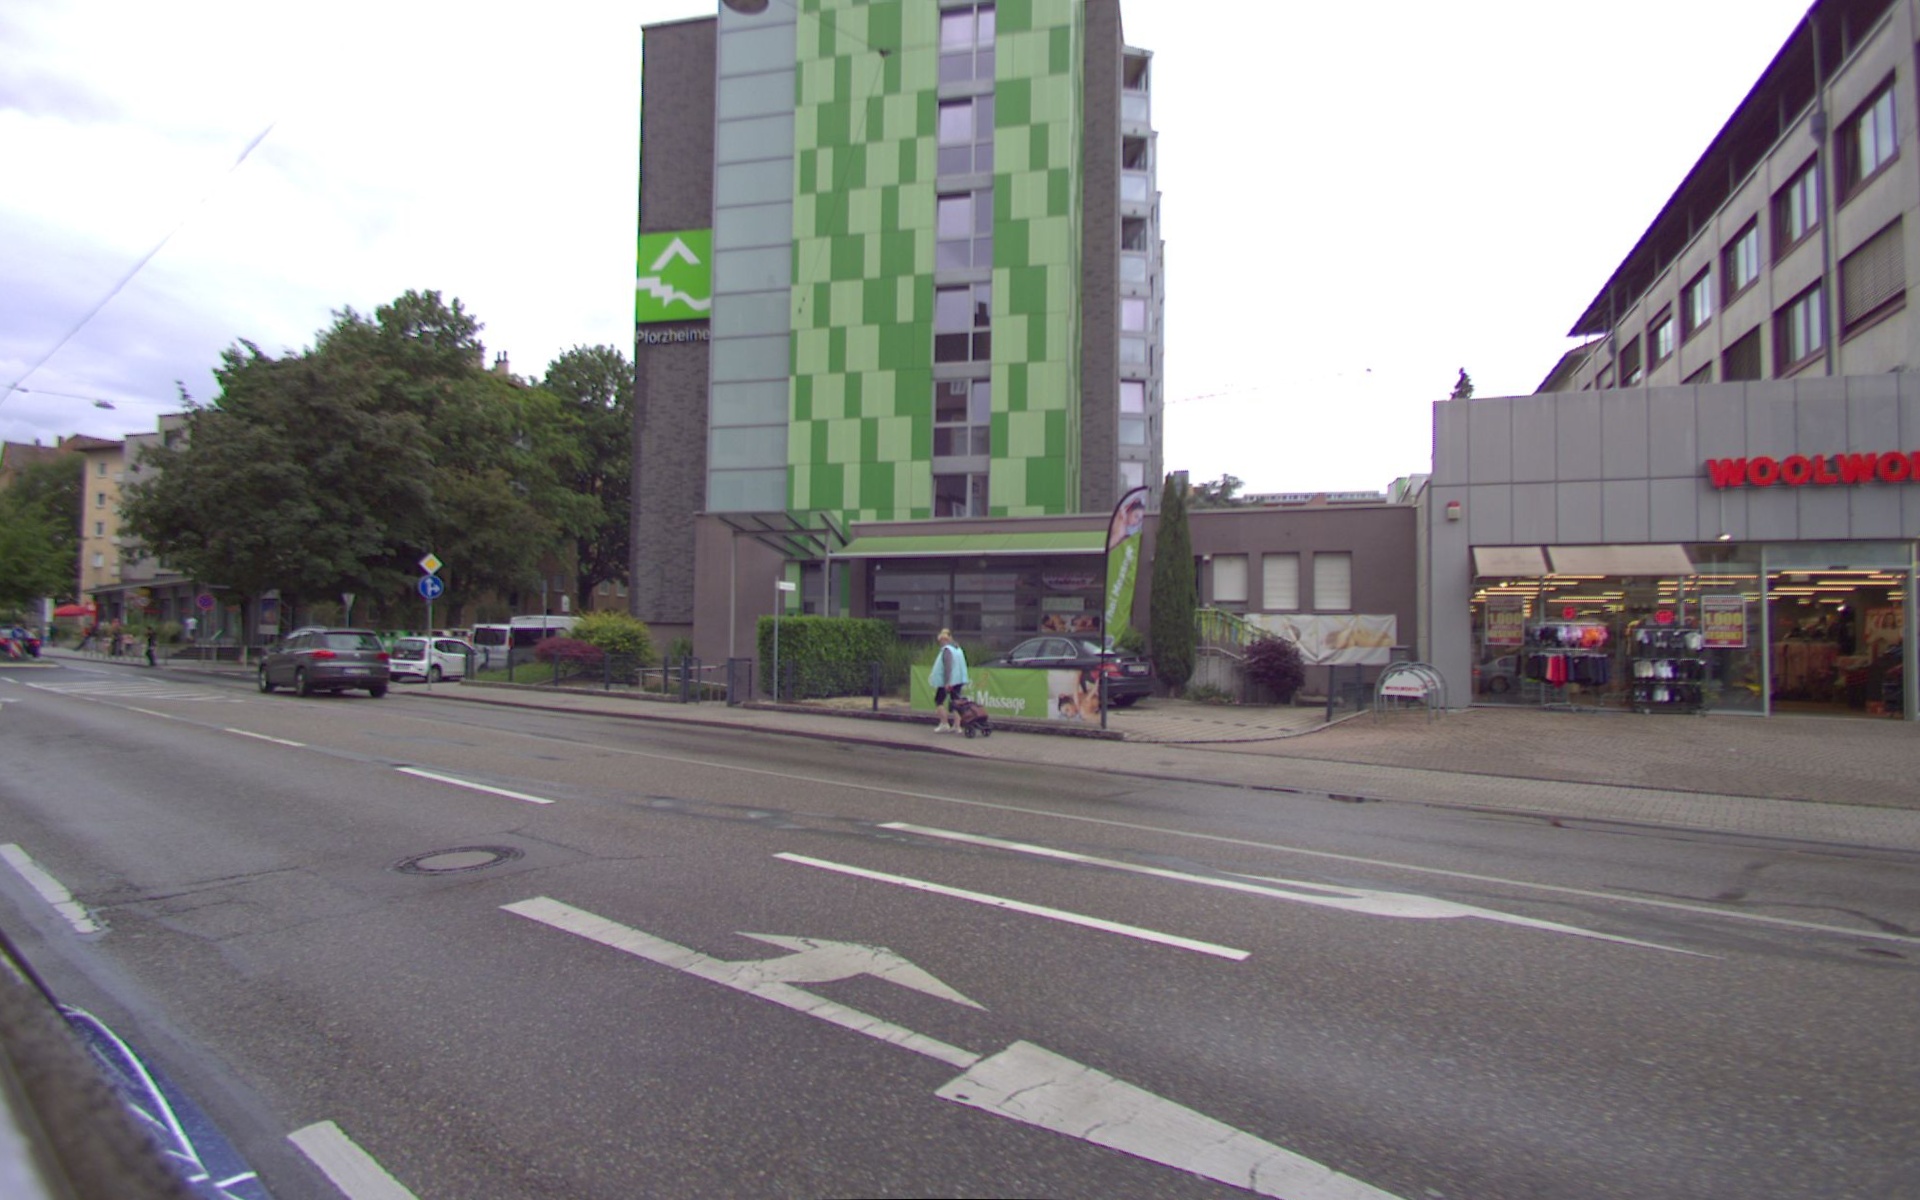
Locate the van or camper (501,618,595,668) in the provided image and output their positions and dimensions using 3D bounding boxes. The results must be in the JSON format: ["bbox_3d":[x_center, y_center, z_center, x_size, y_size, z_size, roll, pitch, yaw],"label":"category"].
[{"bbox_3d":[-20.320,2.080,50.107,2.188,2.283,4.603,-1,-1,10],"label":"van or camper"}]

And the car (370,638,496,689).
[{"bbox_3d":[-17.400,2.071,33.599,1.725,1.581,3.571,0,-2,15],"label":"car"}]

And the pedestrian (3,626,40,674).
[{"bbox_3d":[-36.527,1.929,39.396,0.847,1.840,0.719,-1,-2,17],"label":"pedestrian"}]

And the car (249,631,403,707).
[{"bbox_3d":[-15.364,1.605,24.465,4.052,1.672,1.929,-2,-3,39],"label":"car"}]

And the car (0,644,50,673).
[{"bbox_3d":[-51.021,3.156,54.775,4.496,1.436,1.993,-2,-2,40],"label":"car"}]

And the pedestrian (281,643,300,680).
[{"bbox_3d":[-22.651,2.075,34.240,0.310,1.207,0.405,-1,-3,33],"label":"pedestrian"}]

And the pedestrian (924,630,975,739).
[{"bbox_3d":[-0.170,1.337,16.232,0.743,1.698,0.748,1,-3,-5],"label":"pedestrian"}]

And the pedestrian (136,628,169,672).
[{"bbox_3d":[-35.028,2.169,43.902,0.690,1.859,0.855,-1,-3,25],"label":"pedestrian"}]

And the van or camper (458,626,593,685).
[{"bbox_3d":[-16.495,2.065,38.722,1.983,2.029,4.938,-3,-2,18],"label":"van or camper"}]

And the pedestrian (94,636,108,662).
[{"bbox_3d":[-47.170,2.703,55.582,0.480,1.421,0.429,-1,-2,36],"label":"pedestrian"}]

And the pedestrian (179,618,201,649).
[{"bbox_3d":[-45.895,1.994,60.323,0.714,1.840,0.720,-1,-2,12],"label":"pedestrian"}]

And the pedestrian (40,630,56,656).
[{"bbox_3d":[-65.254,3.052,72.411,0.867,1.833,0.585,-1,-2,31],"label":"pedestrian"}]

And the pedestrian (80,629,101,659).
[{"bbox_3d":[-54.062,2.731,62.935,0.717,1.840,0.718,-1,-2,21],"label":"pedestrian"}]

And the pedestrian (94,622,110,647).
[{"bbox_3d":[-57.706,2.335,68.064,0.713,1.691,0.706,-2,-3,39],"label":"pedestrian"}]

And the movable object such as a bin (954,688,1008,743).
[{"bbox_3d":[0.317,1.790,15.784,0.743,0.795,0.734,1,-2,-5],"label":"movable object such as a bin"}]

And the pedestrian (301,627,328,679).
[{"bbox_3d":[-22.232,1.806,34.851,0.579,1.775,0.569,-1,-3,33],"label":"pedestrian"}]

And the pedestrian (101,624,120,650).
[{"bbox_3d":[-56.627,2.456,67.468,0.701,1.691,0.803,1,-2,-22],"label":"pedestrian"}]

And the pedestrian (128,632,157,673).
[{"bbox_3d":[-35.829,2.295,44.372,0.715,1.772,0.653,0,-2,17],"label":"pedestrian"}]

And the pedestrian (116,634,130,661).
[{"bbox_3d":[-46.568,2.624,56.328,0.529,1.484,0.455,-1,-2,36],"label":"pedestrian"}]

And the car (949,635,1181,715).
[{"bbox_3d":[2.053,1.460,20.916,1.969,1.450,4.657,3,-3,-42],"label":"car"}]

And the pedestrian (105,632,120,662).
[{"bbox_3d":[-46.858,2.589,55.950,0.552,1.686,0.493,-1,-2,36],"label":"pedestrian"}]
